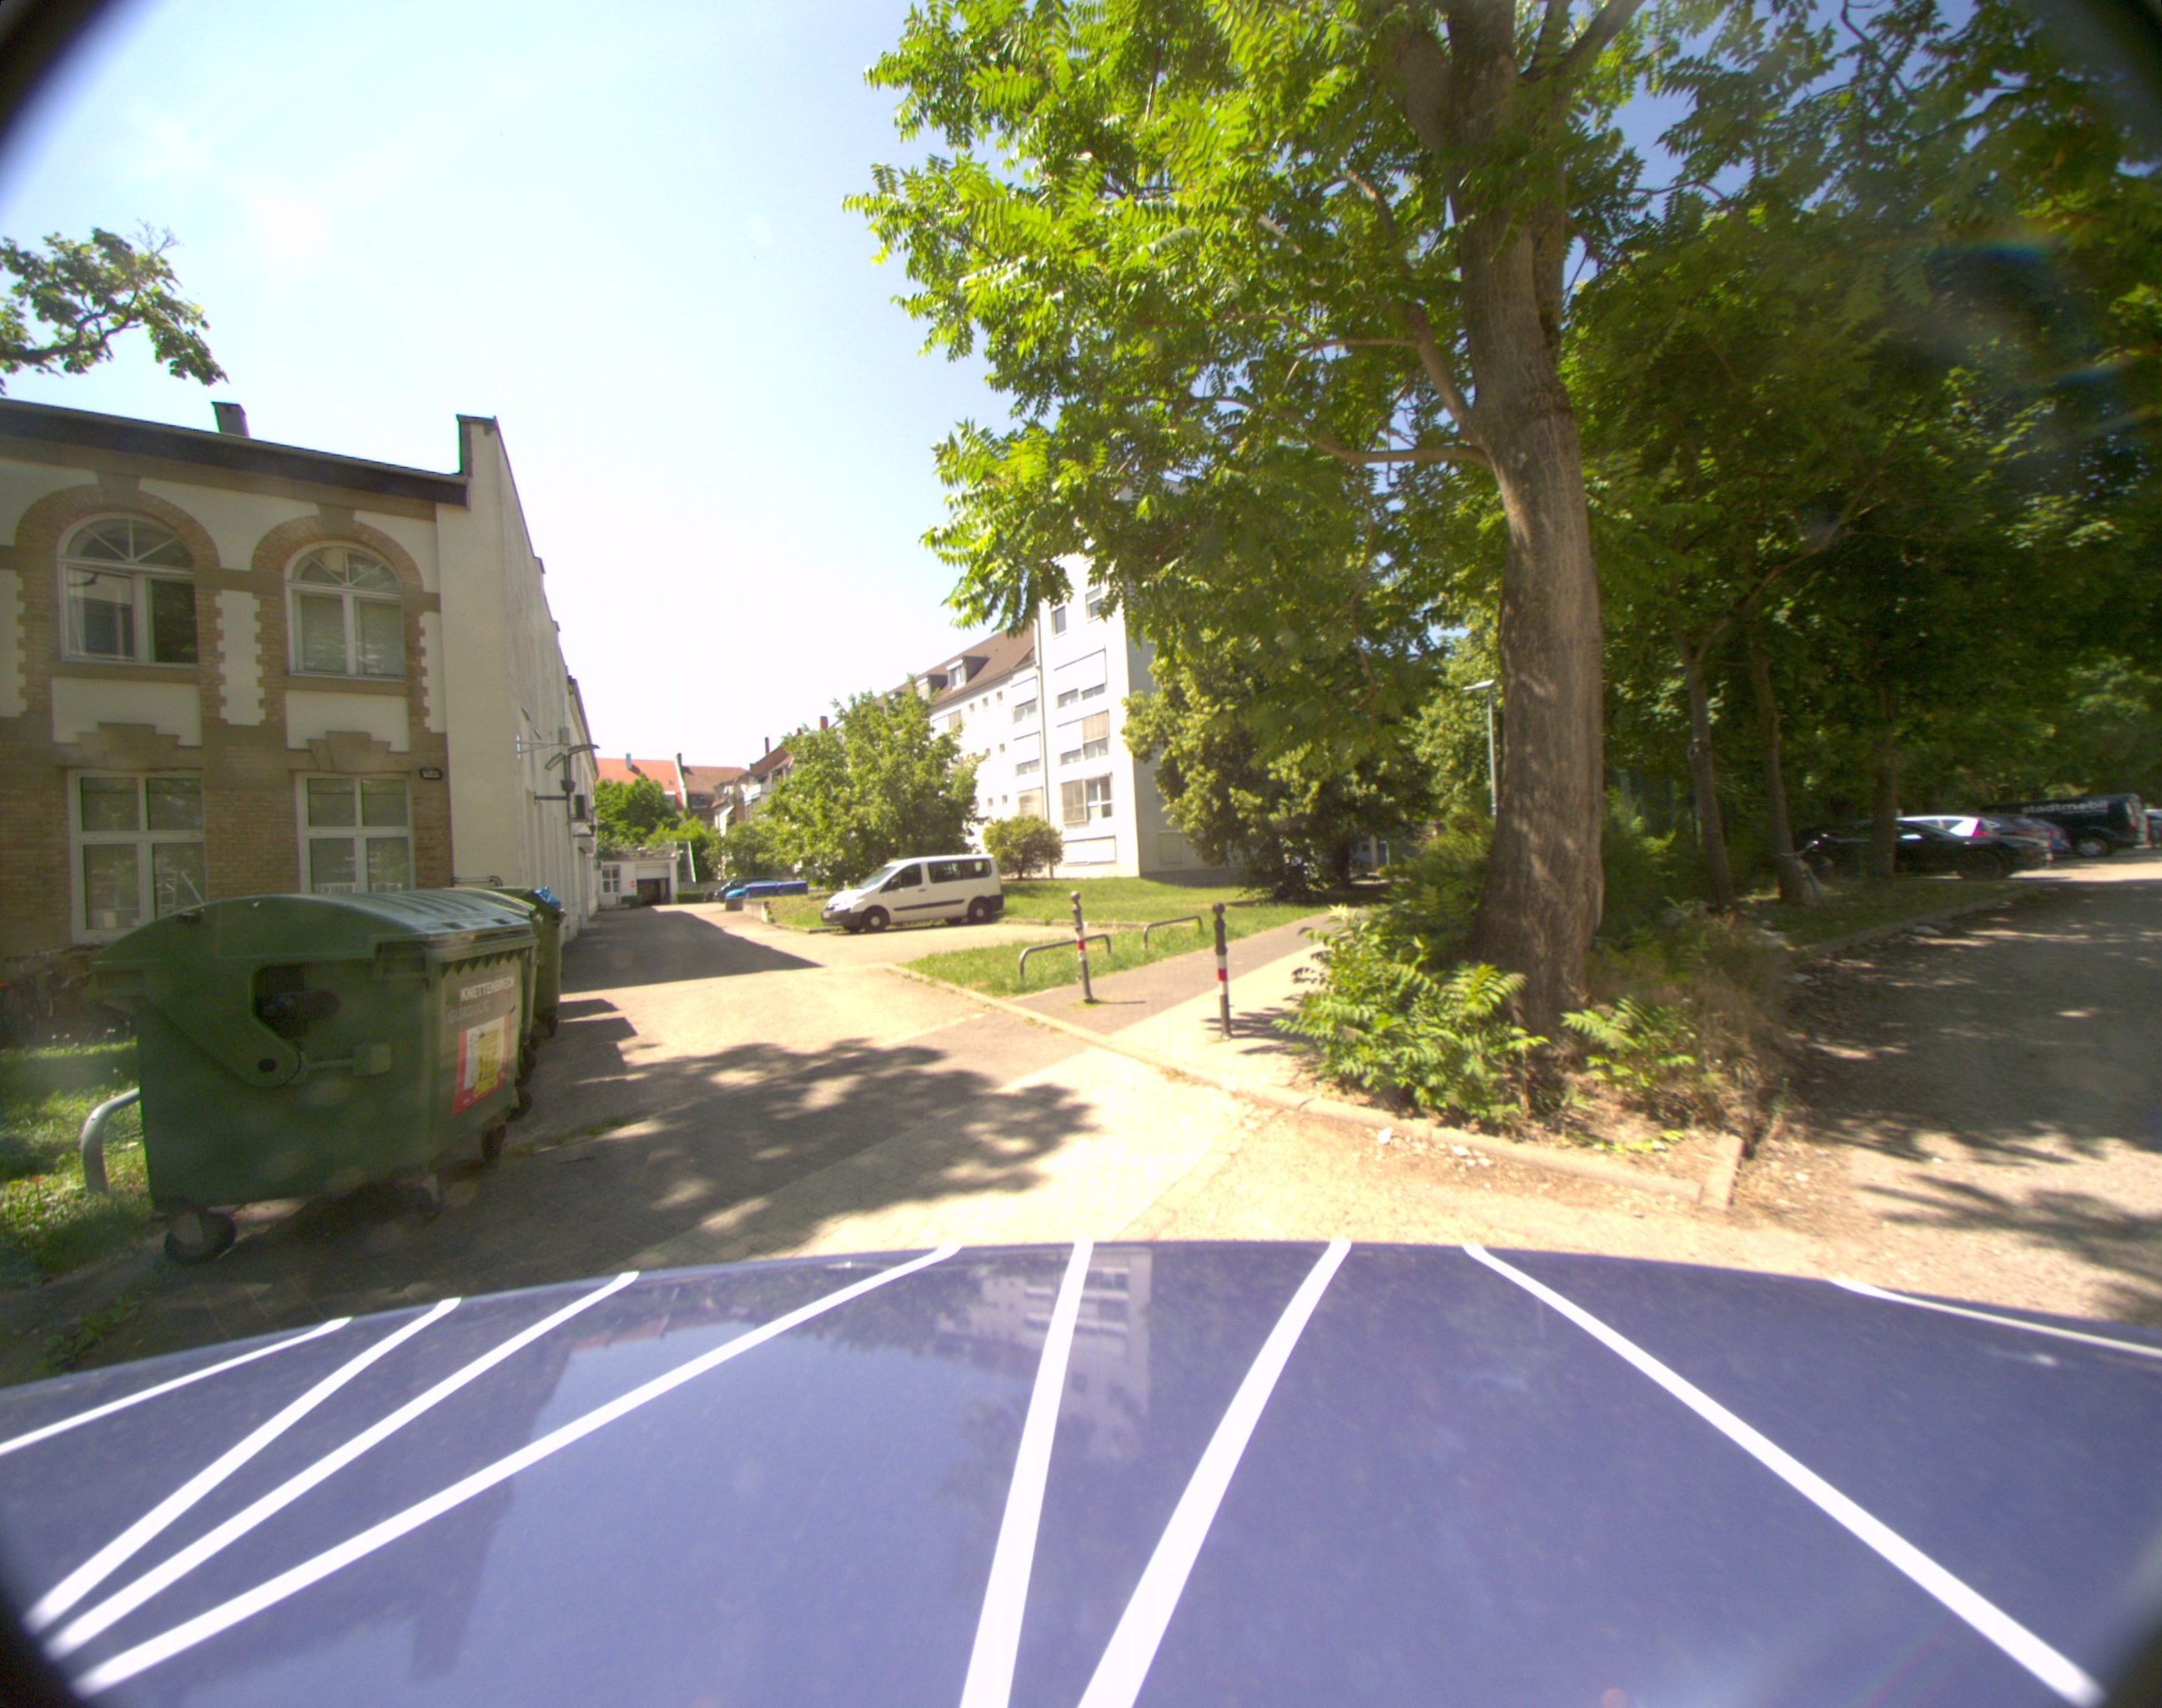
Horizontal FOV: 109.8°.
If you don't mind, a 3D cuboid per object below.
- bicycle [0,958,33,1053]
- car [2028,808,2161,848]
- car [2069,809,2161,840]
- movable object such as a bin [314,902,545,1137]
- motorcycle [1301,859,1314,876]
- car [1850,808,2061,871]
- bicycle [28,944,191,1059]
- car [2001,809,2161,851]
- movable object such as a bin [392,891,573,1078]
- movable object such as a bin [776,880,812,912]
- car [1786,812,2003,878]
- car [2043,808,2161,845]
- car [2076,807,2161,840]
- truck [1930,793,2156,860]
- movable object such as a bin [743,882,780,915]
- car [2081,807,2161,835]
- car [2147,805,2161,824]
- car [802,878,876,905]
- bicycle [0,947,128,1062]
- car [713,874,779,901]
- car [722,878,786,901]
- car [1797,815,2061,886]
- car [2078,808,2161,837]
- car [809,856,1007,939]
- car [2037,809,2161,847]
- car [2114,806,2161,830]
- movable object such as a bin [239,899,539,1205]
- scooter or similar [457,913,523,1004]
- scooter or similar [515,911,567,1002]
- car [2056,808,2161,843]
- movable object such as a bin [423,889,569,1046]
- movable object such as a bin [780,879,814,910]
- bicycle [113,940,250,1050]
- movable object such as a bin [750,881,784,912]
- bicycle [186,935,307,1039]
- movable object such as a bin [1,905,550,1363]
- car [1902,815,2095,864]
[{"bbox_3d":[-12.620,1.773,8.374,0.505,1.061,1.831,-3,-1,-30],"label":"bicycle"},{"bbox_3d":[41.169,-1.033,30.430,1.743,1.401,3.782,-3,0,-29],"label":"car"},{"bbox_3d":[52.725,-1.484,38.033,1.743,1.401,3.782,-3,0,-29],"label":"car"},{"bbox_3d":[-5.012,1.175,6.004,1.184,1.461,1.308,-3,1,-35],"label":"movable object such as a bin"},{"bbox_3d":[16.426,0.958,55.060,0.699,1.161,2.314,-3,0,20],"label":"motorcycle"},{"bbox_3d":[25.516,-0.374,22.310,1.851,1.625,3.781,-3,0,-32],"label":"car"},{"bbox_3d":[-11.492,1.691,9.065,0.505,1.061,1.831,-3,0,-30],"label":"bicycle"},{"bbox_3d":[38.998,-0.917,29.580,1.743,1.401,3.782,-3,0,-29],"label":"car"},{"bbox_3d":[-5.638,1.137,7.240,1.185,1.461,1.308,-4,1,-37],"label":"movable object such as a bin"},{"bbox_3d":[-12.752,1.851,33.713,1.260,1.320,1.102,-3,0,-31],"label":"movable object such as a bin"},{"bbox_3d":[22.388,-0.210,21.064,1.851,1.625,3.781,-3,0,-32],"label":"car"},{"bbox_3d":[44.764,-1.201,32.795,1.743,1.401,3.782,-3,0,-29],"label":"car"},{"bbox_3d":[49.569,-1.441,35.326,1.743,1.401,3.782,-3,0,-29],"label":"car"},{"bbox_3d":[32.377,-0.875,25.739,2.003,1.982,4.448,-3,0,-29],"label":"truck"},{"bbox_3d":[-13.878,1.938,33.018,1.260,1.320,1.102,-3,0,-31],"label":"movable object such as a bin"},{"bbox_3d":[60.025,-1.885,43.088,1.743,1.401,3.782,-3,0,-29],"label":"car"},{"bbox_3d":[79.563,-2.939,54.260,1.743,1.401,3.782,-3,0,-29],"label":"car"},{"bbox_3d":[-14.922,2.268,46.875,4.007,1.428,1.707,-2,-1,-35],"label":"car"},{"bbox_3d":[-12.002,1.704,8.810,0.505,1.061,1.831,-3,0,-30],"label":"bicycle"},{"bbox_3d":[-26.782,2.629,60.733,4.458,1.821,1.995,-3,0,-34],"label":"car"},{"bbox_3d":[-25.143,2.706,58.425,4.177,1.544,1.855,-2,-1,-36],"label":"car"},{"bbox_3d":[20.419,-0.055,18.495,1.692,1.494,3.991,-3,0,-30],"label":"car"},{"bbox_3d":[57.719,-1.755,41.488,1.743,1.401,3.782,-3,0,-29],"label":"car"},{"bbox_3d":[-4.675,1.111,20.822,4.812,1.899,1.995,-2,-2,-36],"label":"car"},{"bbox_3d":[43.126,-1.095,31.687,1.743,1.401,3.782,-3,0,-29],"label":"car"},{"bbox_3d":[69.228,-2.376,48.463,1.743,1.401,3.782,-3,0,-29],"label":"car"},{"bbox_3d":[-4.212,1.082,4.809,1.185,1.461,1.308,-4,1,-36],"label":"movable object such as a bin"},{"bbox_3d":[-8.407,1.450,10.795,1.253,1.167,0.466,-3,0,42],"label":"scooter or similar"},{"bbox_3d":[-7.779,1.433,10.931,0.466,1.167,1.353,-3,0,-39],"label":"scooter or similar"},{"bbox_3d":[46.439,-1.277,33.626,1.743,1.401,3.782,-3,0,-29],"label":"car"},{"bbox_3d":[-6.656,1.193,8.648,1.161,1.497,1.459,-4,1,-40],"label":"movable object such as a bin"},{"bbox_3d":[-13.274,1.888,35.483,1.260,1.320,1.102,-3,0,-31],"label":"movable object such as a bin"},{"bbox_3d":[-11.028,1.677,9.384,0.455,1.061,1.831,-3,0,-30],"label":"bicycle"},{"bbox_3d":[-14.380,1.949,34.789,1.260,1.320,1.102,-3,0,-31],"label":"movable object such as a bin"},{"bbox_3d":[-10.568,1.636,9.689,0.455,1.061,1.831,-3,0,-30],"label":"bicycle"},{"bbox_3d":[-3.407,1.046,3.500,1.183,1.461,1.331,-3,1,-20],"label":"movable object such as a bin"},{"bbox_3d":[29.818,-0.422,24.817,1.743,1.401,3.781,-3,0,-32],"label":"car"}]
